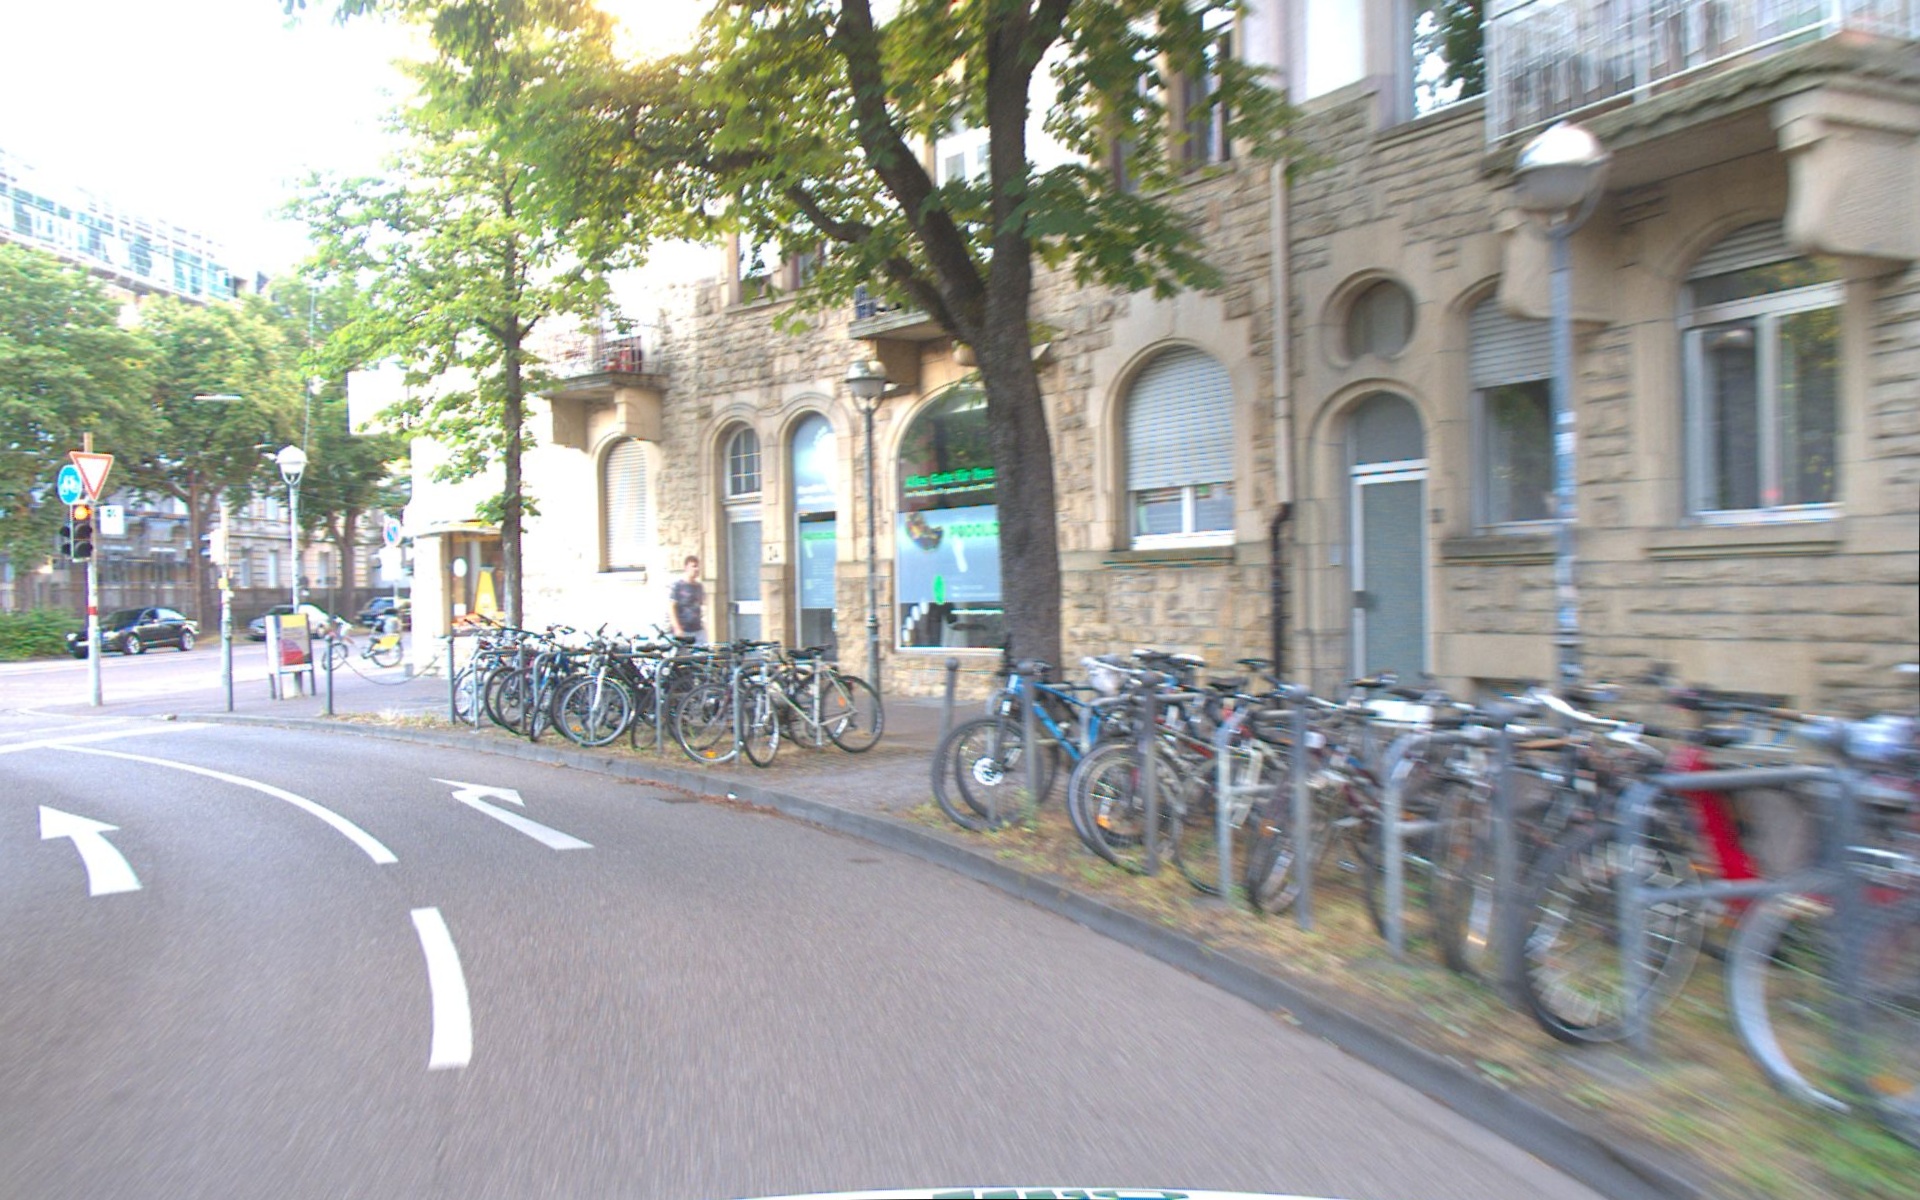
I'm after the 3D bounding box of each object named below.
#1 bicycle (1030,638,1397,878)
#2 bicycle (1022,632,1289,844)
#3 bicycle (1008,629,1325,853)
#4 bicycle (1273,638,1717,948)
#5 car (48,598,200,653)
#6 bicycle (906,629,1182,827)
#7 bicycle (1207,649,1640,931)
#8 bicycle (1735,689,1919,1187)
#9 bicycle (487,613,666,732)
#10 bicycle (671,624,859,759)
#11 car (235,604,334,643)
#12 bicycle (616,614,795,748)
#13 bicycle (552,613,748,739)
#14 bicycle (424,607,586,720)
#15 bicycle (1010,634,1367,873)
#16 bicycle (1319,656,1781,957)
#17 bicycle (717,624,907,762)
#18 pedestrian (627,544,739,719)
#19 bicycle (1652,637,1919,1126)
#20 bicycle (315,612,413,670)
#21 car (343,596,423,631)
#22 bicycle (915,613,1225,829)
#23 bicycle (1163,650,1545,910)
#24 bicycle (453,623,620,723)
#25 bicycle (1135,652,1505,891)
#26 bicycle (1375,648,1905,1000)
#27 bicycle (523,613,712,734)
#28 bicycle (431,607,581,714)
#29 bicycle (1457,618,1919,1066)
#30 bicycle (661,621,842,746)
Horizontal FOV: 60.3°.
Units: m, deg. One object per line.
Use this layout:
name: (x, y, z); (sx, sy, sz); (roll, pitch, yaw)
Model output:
bicycle: (1.367, 0.834, 8.942); (1.822, 1.108, 0.417); (-2, -18, -20)
bicycle: (1.237, 0.796, 10.169); (1.841, 1.123, 0.564); (-2, 1, -43)
bicycle: (1.211, 0.785, 9.605); (1.822, 1.164, 0.416); (-2, 0, -20)
bicycle: (2.233, 0.761, 6.883); (1.819, 1.136, 0.417); (-2, 0, -16)
car: (-25.896, 0.748, 51.407); (1.902, 1.536, 4.636); (-1, 0, 7)
bicycle: (0.576, 0.800, 10.886); (1.862, 1.159, 0.486); (0, 3, -34)
bicycle: (2.082, 0.803, 7.402); (1.886, 1.079, 0.532); (-2, 0, -19)
bicycle: (2.876, 0.767, 4.218); (1.762, 1.082, 0.446); (-2, 0, -16)
bicycle: (-4.196, 0.771, 18.221); (0.629, 1.183, 1.879); (-1, 1, 43)
bicycle: (-1.733, 0.794, 14.854); (1.658, 1.097, 0.480); (-2, 0, -38)
car: (-28.057, 0.957, 68.882); (1.962, 1.451, 4.634); (-1, 0, 3)
bicycle: (-2.452, 0.756, 15.989); (1.652, 1.147, 0.482); (-2, 7, -29)
bicycle: (-3.195, 0.754, 17.124); (1.871, 1.183, 0.695); (-2, 1, -37)
bicycle: (-5.482, 0.736, 19.991); (0.687, 1.258, 1.781); (-1, 1, 43)
bicycle: (1.267, 0.831, 9.198); (1.822, 1.147, 0.417); (-2, -18, -20)
bicycle: (2.356, 0.781, 6.582); (1.819, 1.032, 0.417); (-2, 0, -16)
bicycle: (-1.286, 0.789, 14.557); (1.658, 1.097, 0.480); (-2, 0, -38)
pedestrian: (-3.504, 0.369, 20.905); (1.002, 2.122, 1.048); (-2, 2, -34)
bicycle: (2.837, 0.705, 4.628); (1.762, 1.188, 0.446); (-2, 0, -16)
bicycle: (-12.720, 0.856, 35.300); (1.854, 1.150, 0.723); (-2, 0, -32)
car: (-27.572, 0.630, 79.145); (1.902, 1.508, 4.172); (-1, 0, 7)
bicycle: (0.699, 0.749, 10.468); (1.851, 1.238, 0.489); (-2, -5, -20)
bicycle: (1.880, 0.812, 7.842); (1.822, 1.070, 0.416); (-2, 0, -20)
bicycle: (-4.927, 0.827, 19.339); (0.687, 1.056, 1.795); (-1, 1, 43)
bicycle: (1.780, 0.803, 8.114); (1.822, 1.017, 0.416); (-2, 0, -20)
bicycle: (2.495, 0.759, 6.050); (1.885, 1.083, 0.549); (-2, 0, -19)
bicycle: (-3.652, 0.759, 17.721); (1.871, 1.183, 0.632); (-2, 1, -37)
bicycle: (-5.778, 0.751, 21.126); (0.639, 1.258, 1.783); (-1, 1, 41)
bicycle: (2.570, 0.700, 5.310); (1.885, 1.221, 0.549); (-2, 0, -19)
bicycle: (-1.995, 0.778, 15.919); (1.652, 1.097, 0.481); (-2, 0, -31)
